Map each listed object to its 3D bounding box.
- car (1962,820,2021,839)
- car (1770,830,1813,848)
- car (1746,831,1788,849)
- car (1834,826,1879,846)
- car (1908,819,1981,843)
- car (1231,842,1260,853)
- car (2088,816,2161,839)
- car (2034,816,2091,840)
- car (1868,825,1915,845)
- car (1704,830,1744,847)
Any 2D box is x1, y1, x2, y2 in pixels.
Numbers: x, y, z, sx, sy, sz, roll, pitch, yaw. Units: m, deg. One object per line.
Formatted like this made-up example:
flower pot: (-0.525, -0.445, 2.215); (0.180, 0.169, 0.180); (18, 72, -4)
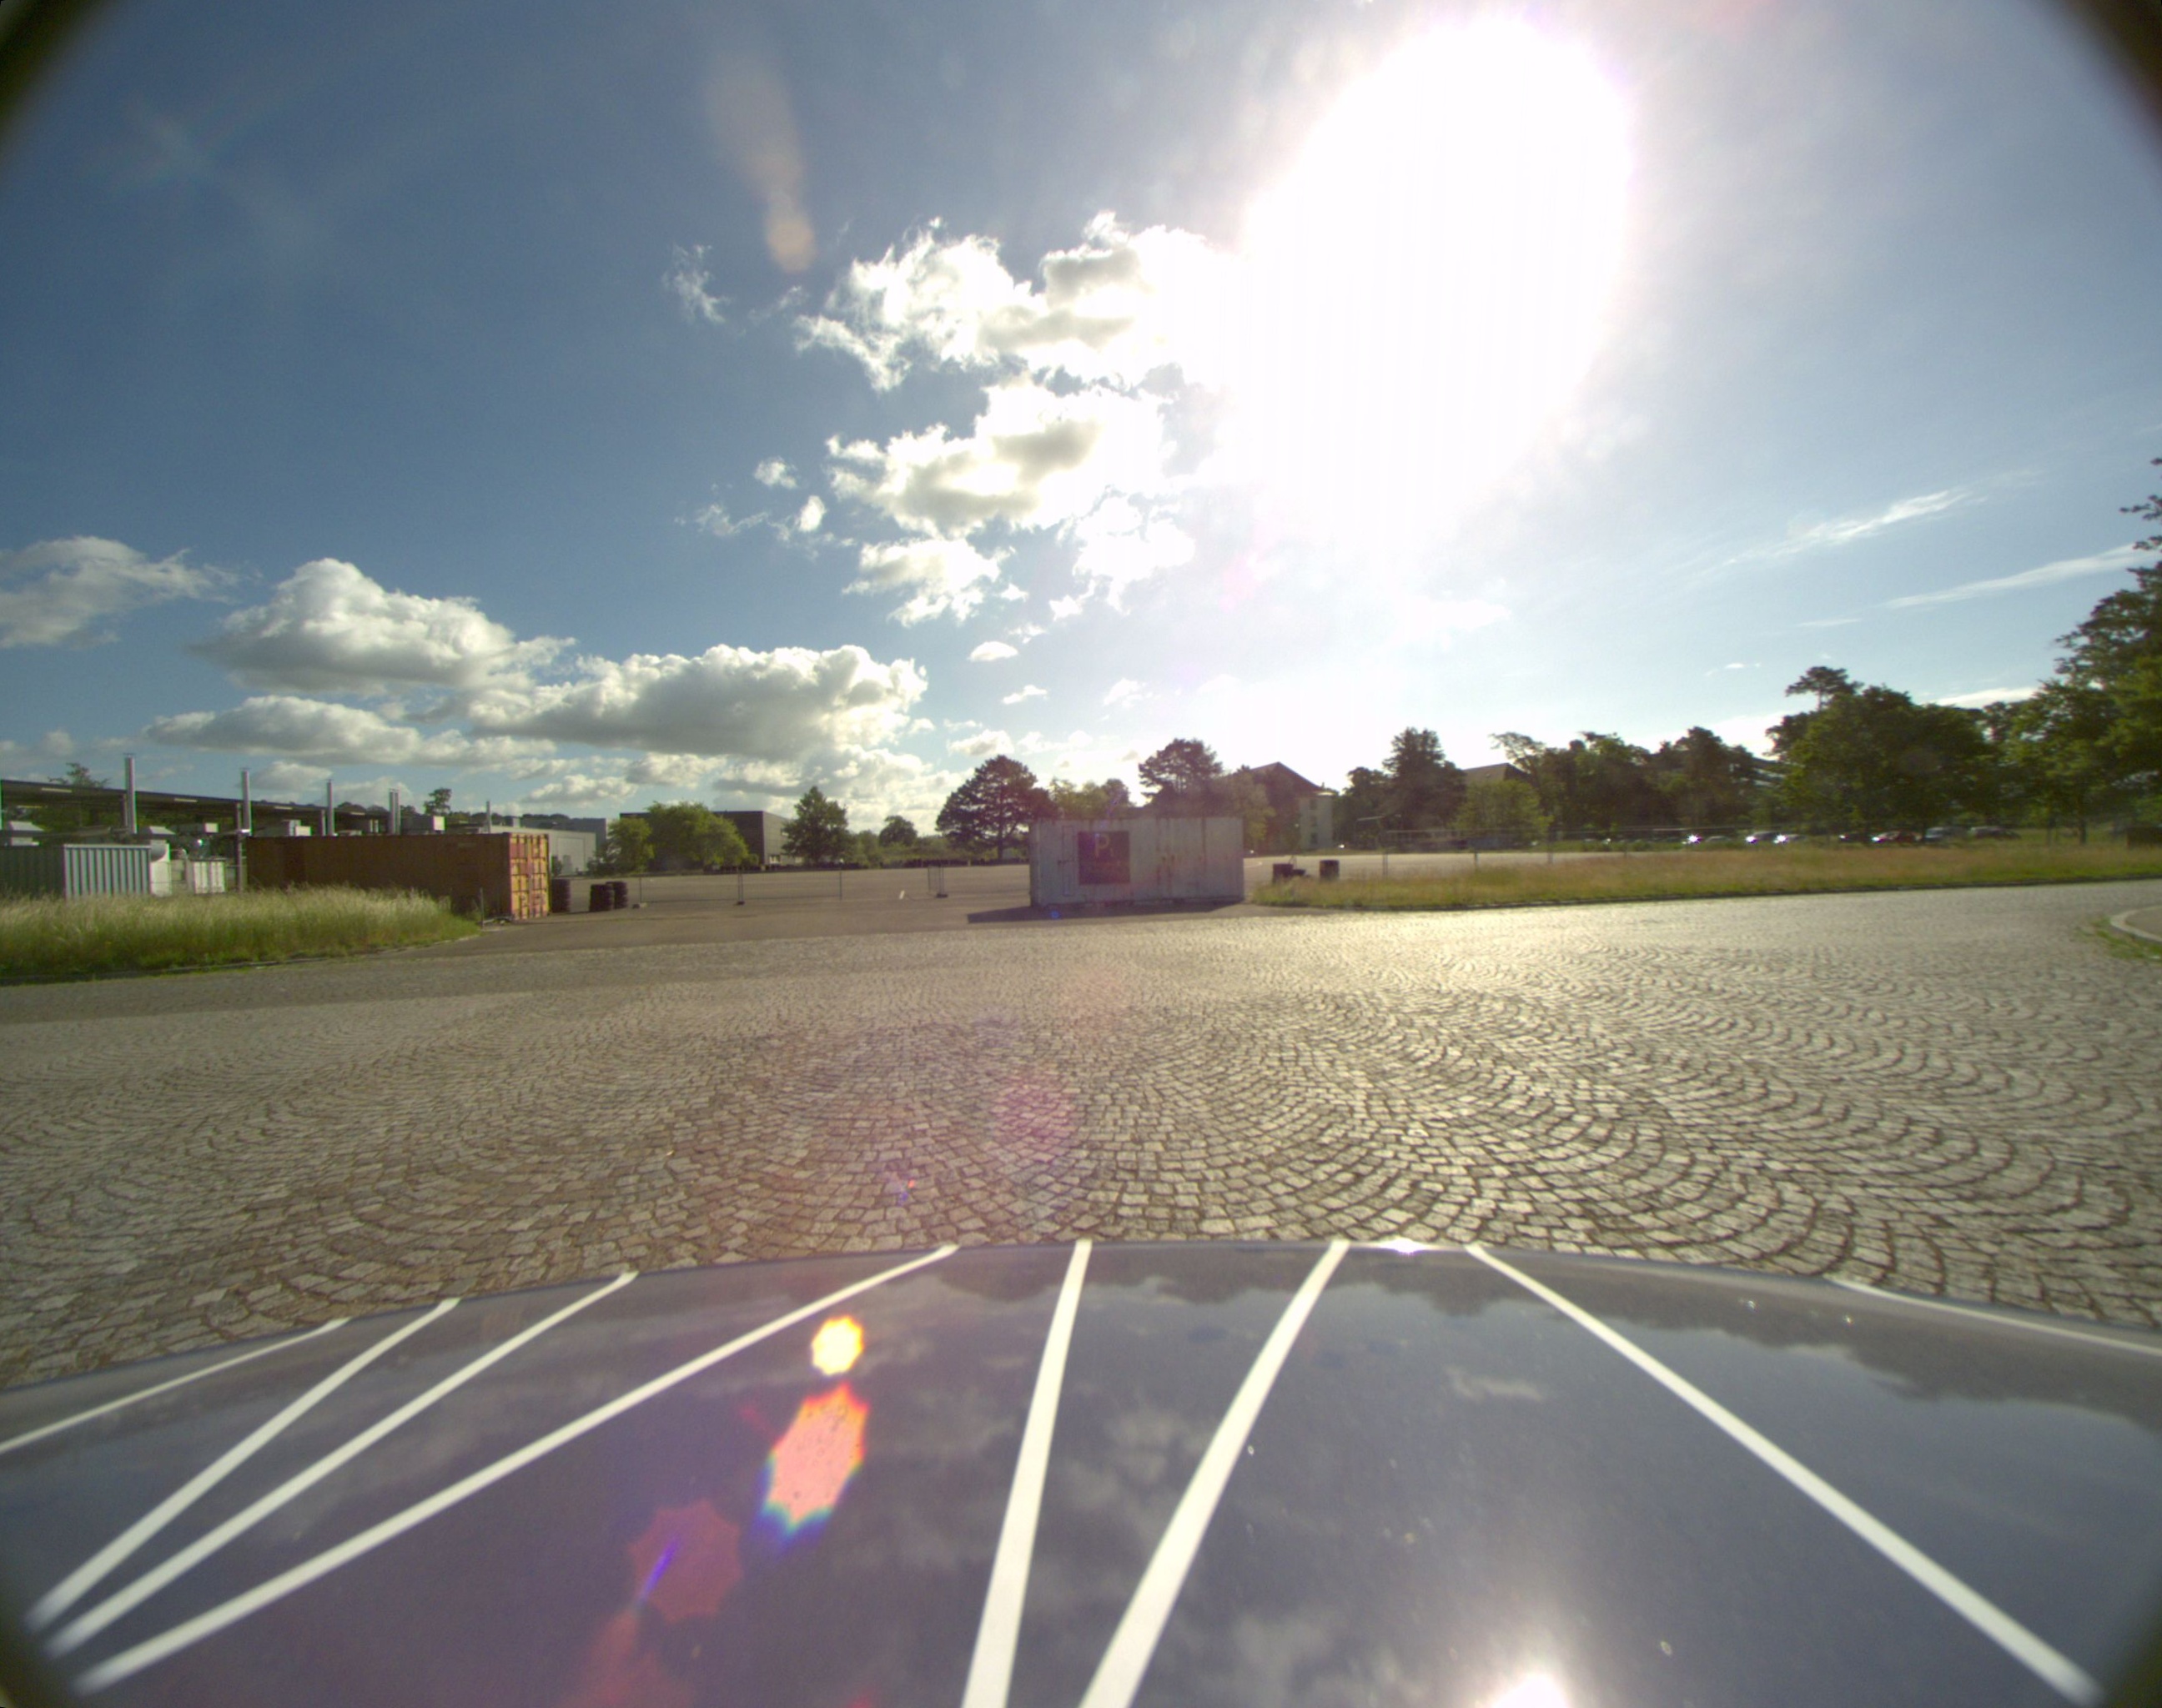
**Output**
car: (85.996, -2.279, 71.762); (4.001, 1.642, 1.997); (-2, 1, -13)
car: (82.135, -1.764, 87.870); (3.852, 2.002, 1.741); (-2, 1, -13)
car: (81.499, -1.699, 90.246); (3.852, 2.002, 1.741); (-2, 1, -11)
car: (83.475, -1.916, 81.810); (3.621, 2.002, 1.741); (-2, 1, -13)
car: (85.893, -2.296, 75.610); (6.035, 2.001, 1.998); (-3, 0, -12)
car: (26.012, -1.053, 120.040); (4.002, 1.573, 1.997); (-2, 1, -16)
car: (88.262, -2.232, 64.041); (4.349, 1.828, 2.245); (-2, 1, -8)
car: (87.721, -2.327, 67.929); (3.621, 2.002, 1.741); (-2, 1, -13)
car: (84.377, -2.000, 79.137); (3.621, 2.002, 1.741); (-2, 1, -13)
car: (80.818, -1.892, 95.535); (3.852, 2.002, 1.741); (-2, 1, -11)
